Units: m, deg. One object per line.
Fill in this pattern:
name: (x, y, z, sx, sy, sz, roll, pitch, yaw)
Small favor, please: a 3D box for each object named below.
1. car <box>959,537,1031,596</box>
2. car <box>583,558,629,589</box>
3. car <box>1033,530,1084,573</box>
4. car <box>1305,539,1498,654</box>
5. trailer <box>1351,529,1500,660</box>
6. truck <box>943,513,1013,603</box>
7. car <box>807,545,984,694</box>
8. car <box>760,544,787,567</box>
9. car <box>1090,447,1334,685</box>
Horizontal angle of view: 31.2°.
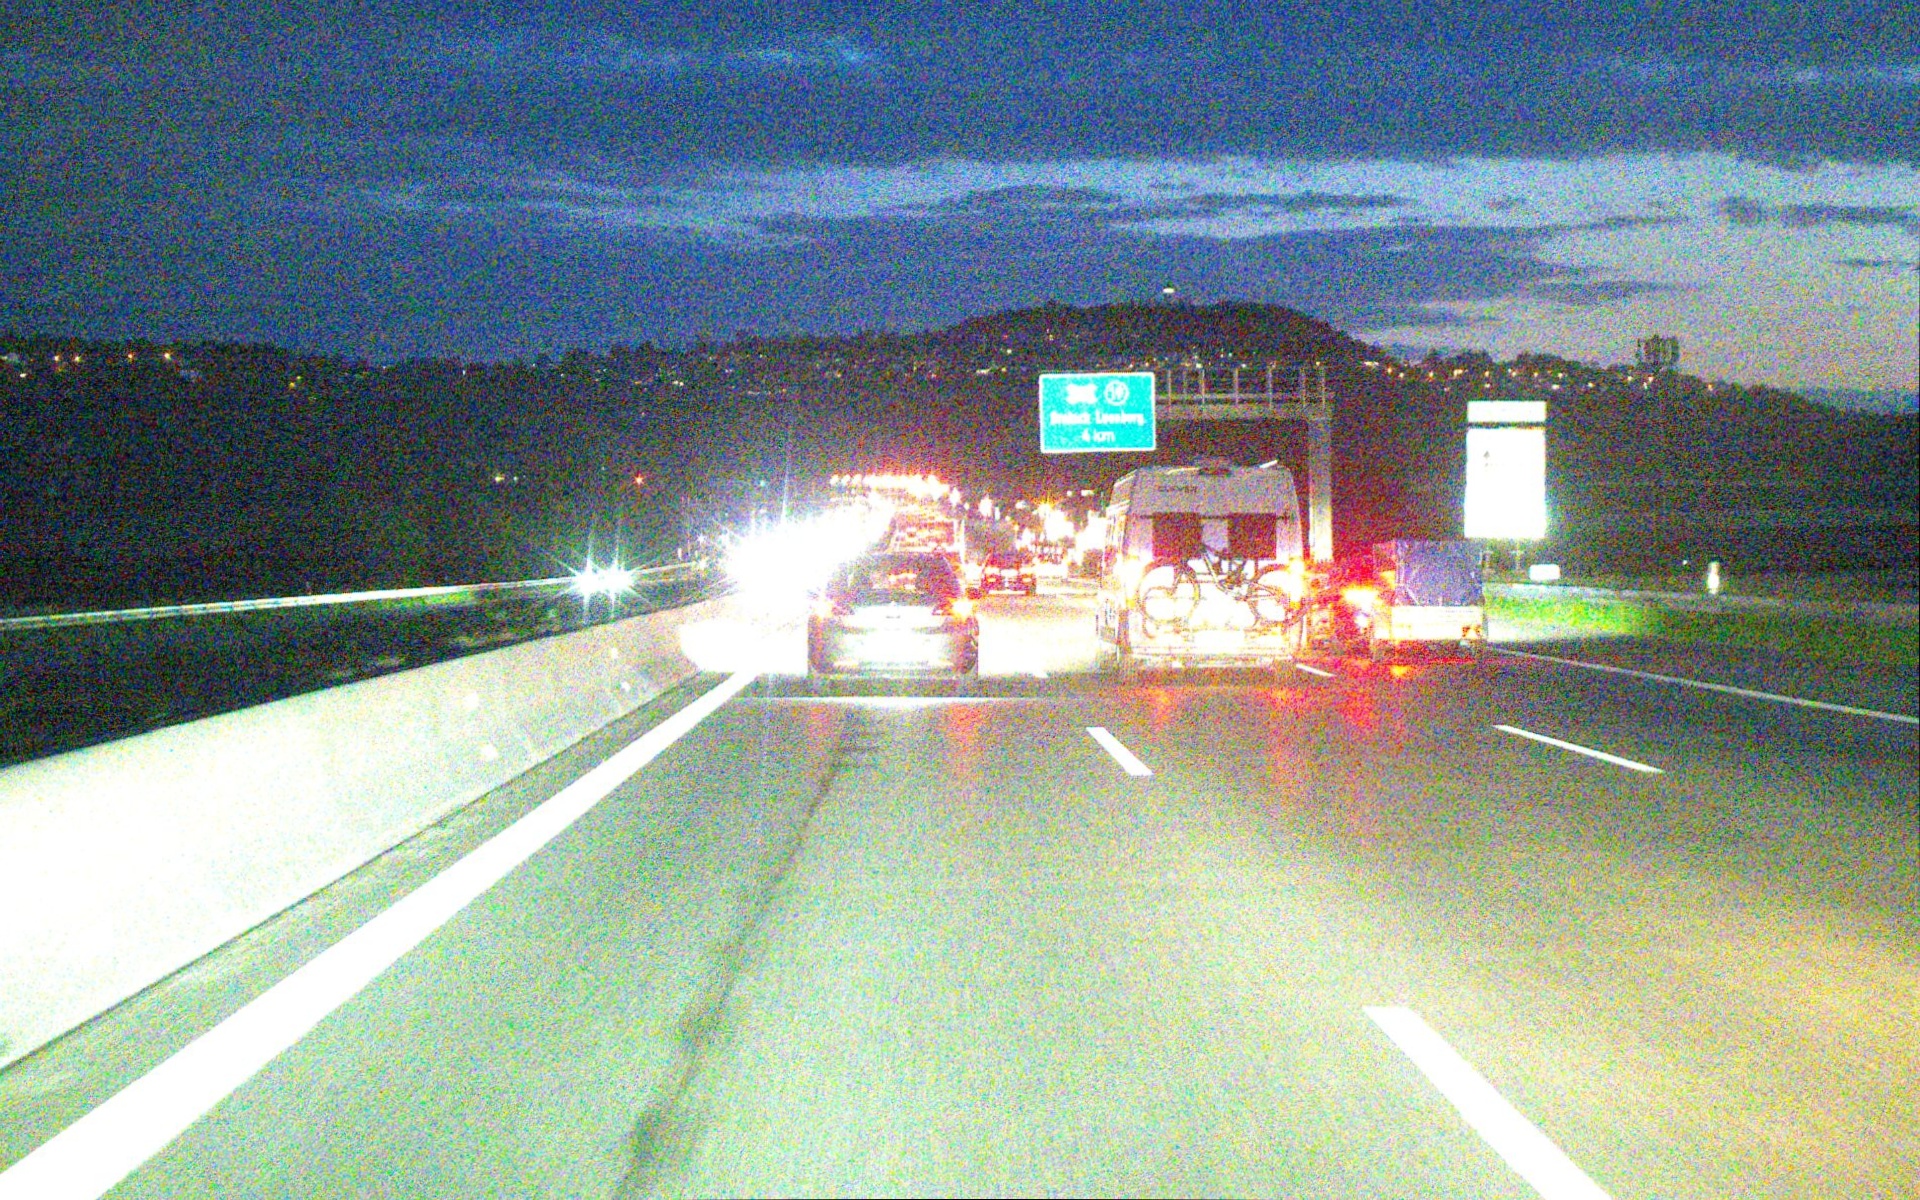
car: (1.168, -1.166, 117.399, 2.351, 1.907, 4.723, -1, 1, 0)
car: (-18.969, -1.432, 184.135, 1.993, 1.473, 5.045, -3, 1, -1)
car: (4.940, -2.462, 173.288, 2.351, 2.068, 4.723, -1, 1, 0)
car: (6.344, -0.090, 49.876, 2.163, 1.558, 4.723, 0, 1, 0)
trailer: (6.235, -0.096, 46.256, 1.566, 1.687, 2.821, -1, 1, -1)
truck: (0.772, -1.901, 156.638, 2.781, 3.942, 7.994, -1, 1, -2)
car: (-0.663, 0.168, 36.623, 1.793, 1.464, 3.773, 0, 1, 0)
car: (-13.852, -3.327, 255.507, 1.812, 1.637, 4.158, -1, 1, 0)
car: (2.840, -0.436, 40.103, 2.351, 2.526, 5.701, -1, 1, 0)
